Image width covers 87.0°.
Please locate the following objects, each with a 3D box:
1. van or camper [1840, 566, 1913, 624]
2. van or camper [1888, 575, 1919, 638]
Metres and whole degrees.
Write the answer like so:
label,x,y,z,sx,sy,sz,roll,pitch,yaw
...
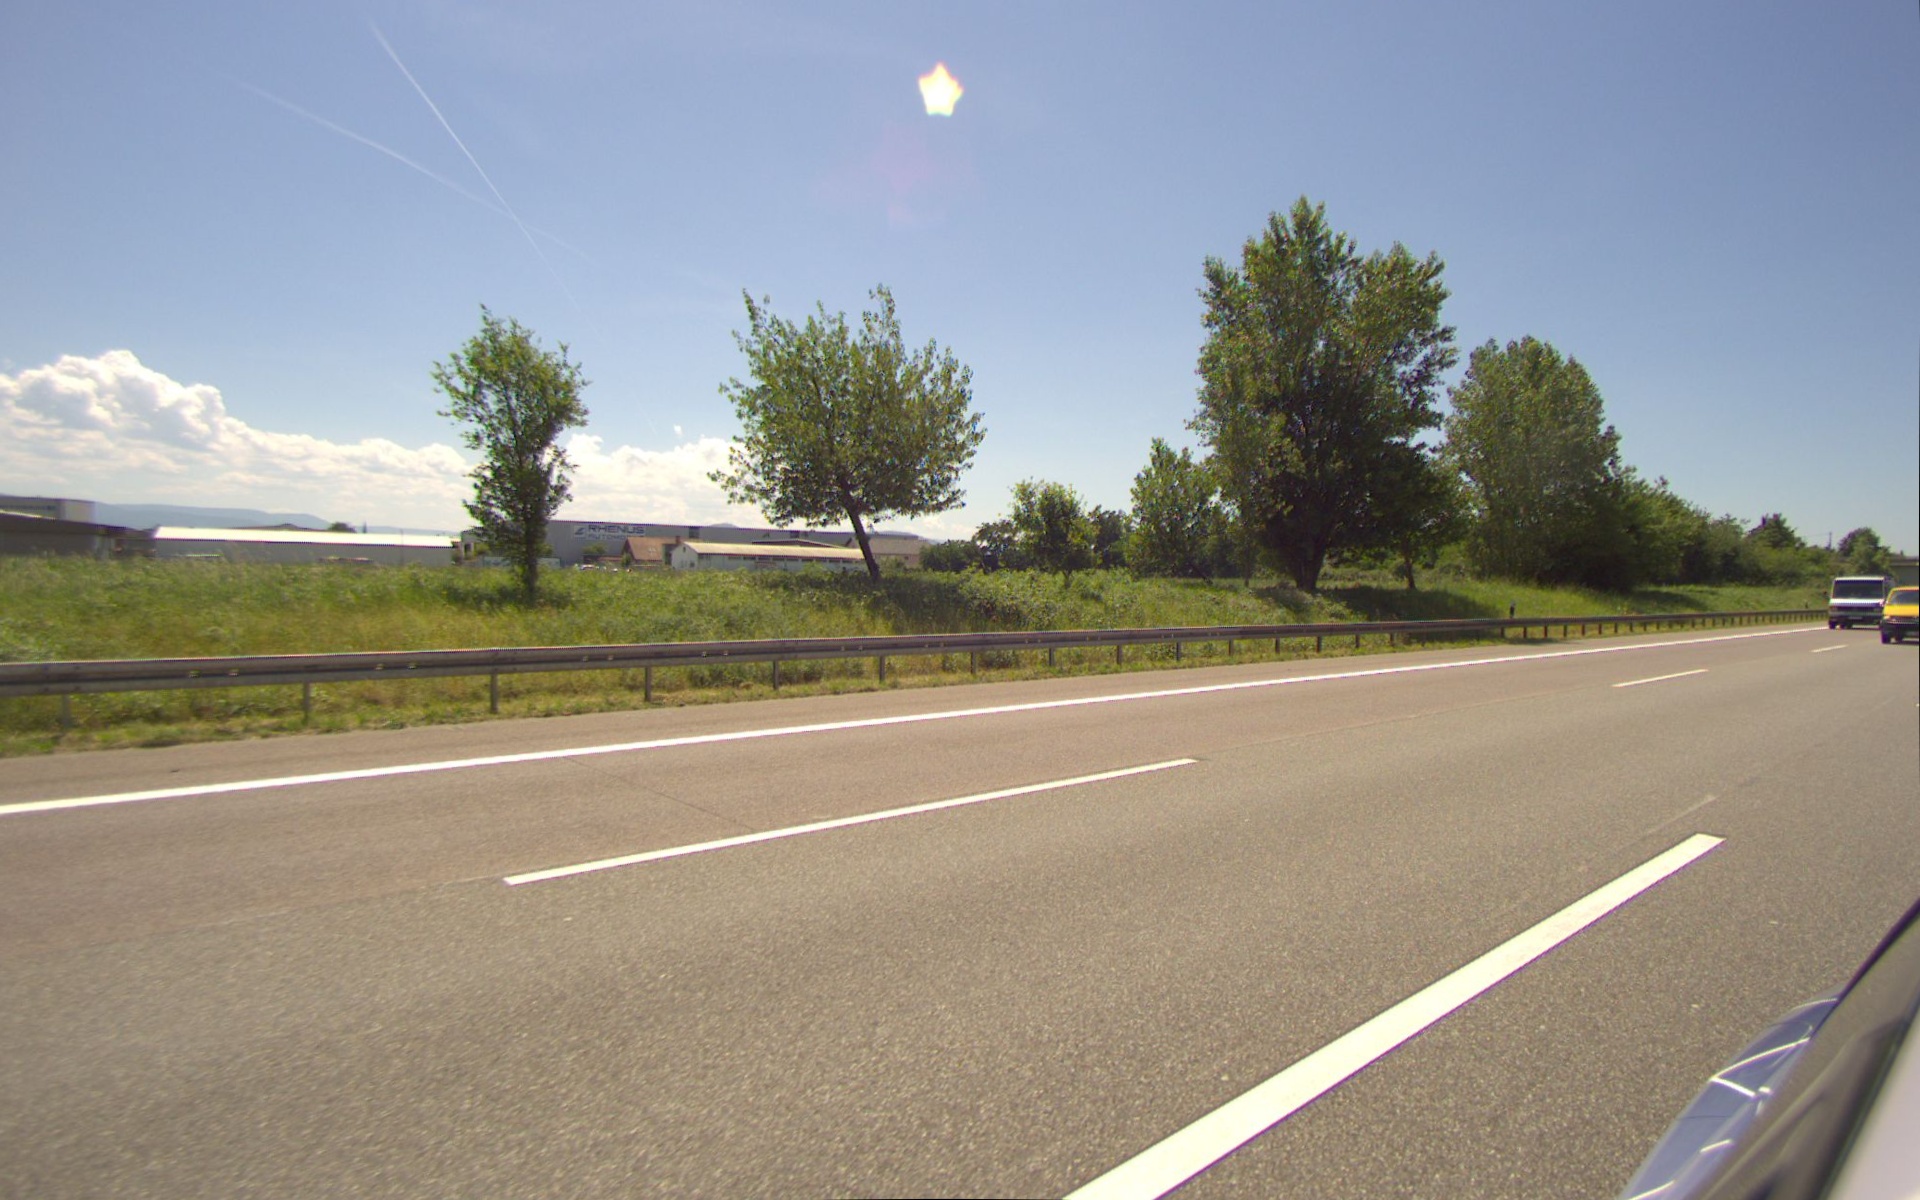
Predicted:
label,x,y,z,sx,sy,sz,roll,pitch,yaw
van or camper,45.867,-0.273,50.587,6.258,2.737,2.116,0,0,-42
van or camper,33.483,0.196,34.533,5.781,2.029,2.062,0,1,-41
